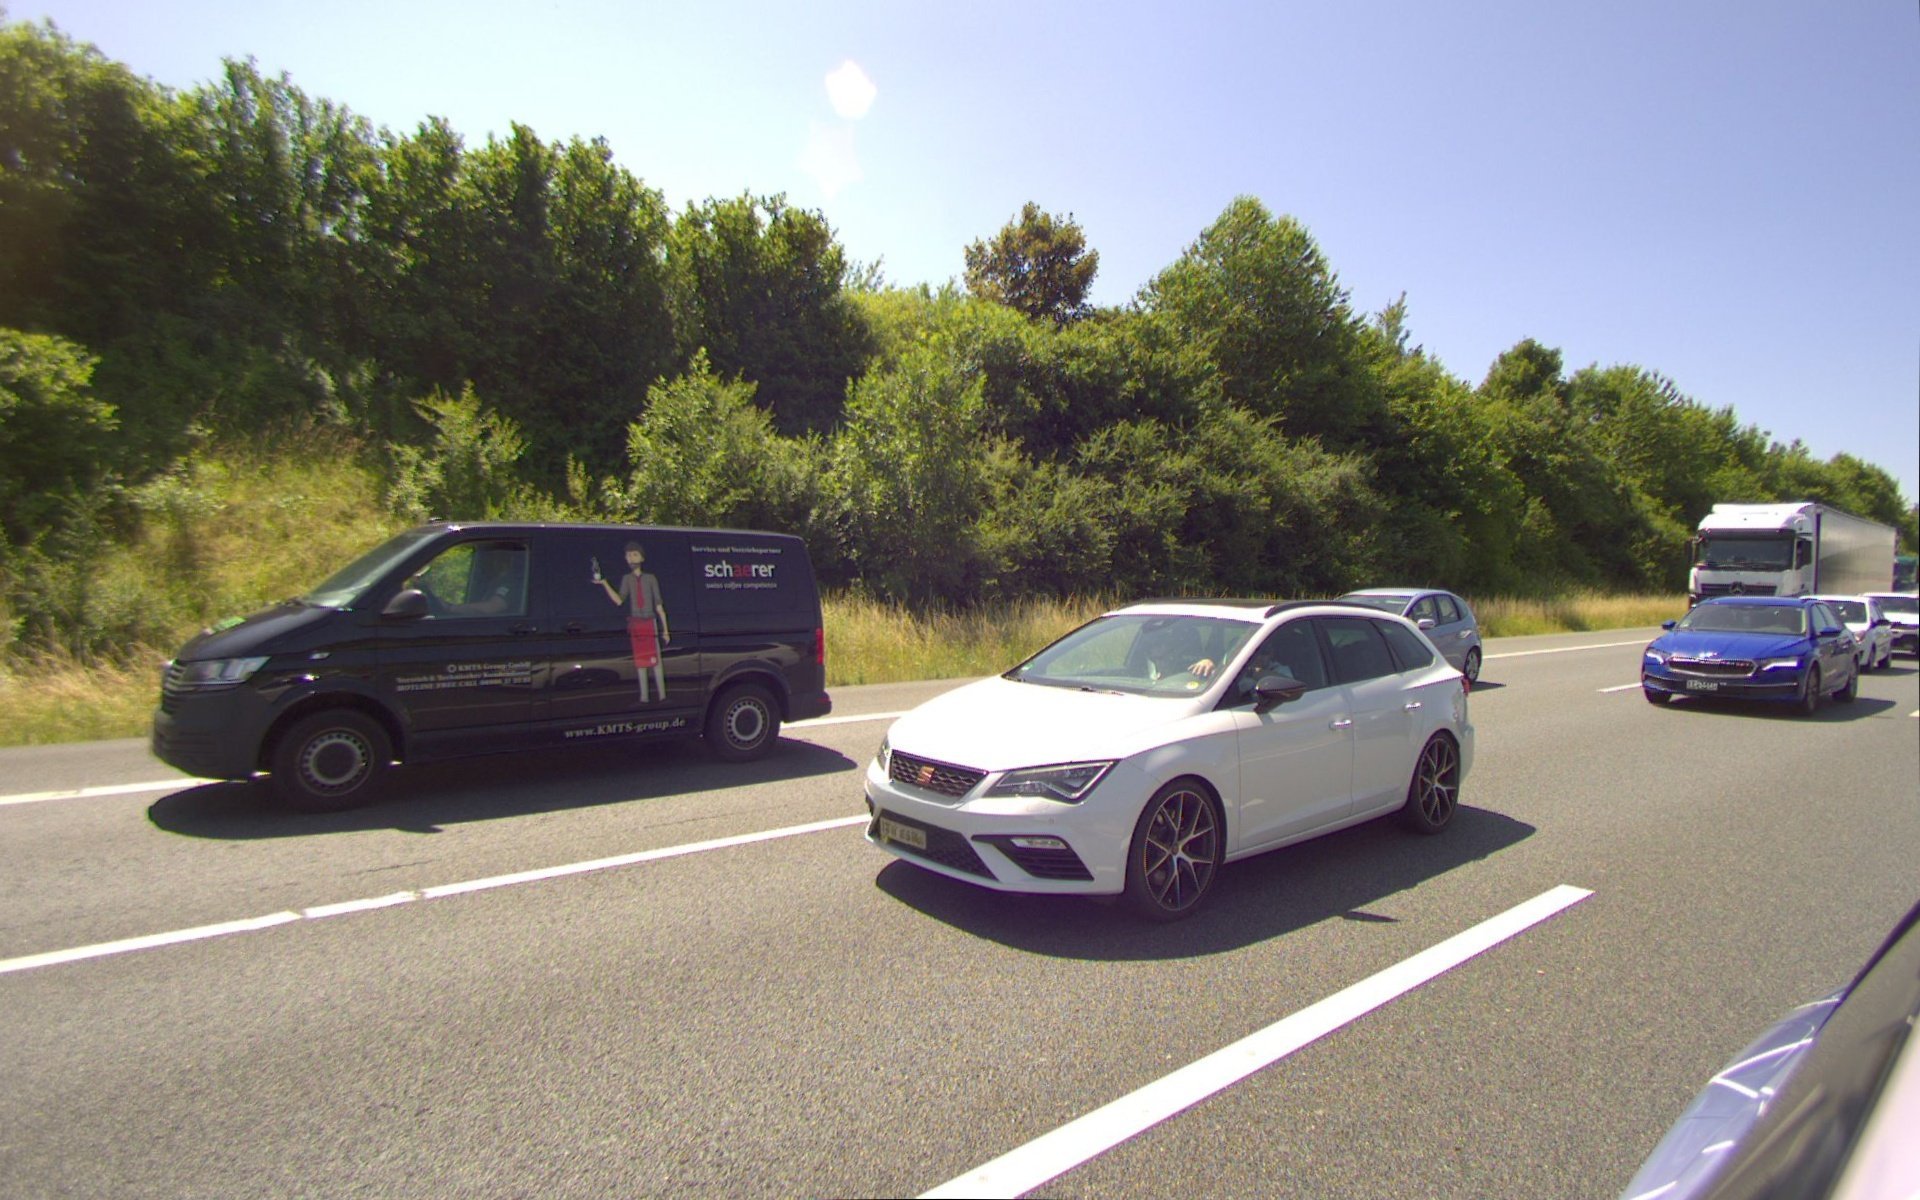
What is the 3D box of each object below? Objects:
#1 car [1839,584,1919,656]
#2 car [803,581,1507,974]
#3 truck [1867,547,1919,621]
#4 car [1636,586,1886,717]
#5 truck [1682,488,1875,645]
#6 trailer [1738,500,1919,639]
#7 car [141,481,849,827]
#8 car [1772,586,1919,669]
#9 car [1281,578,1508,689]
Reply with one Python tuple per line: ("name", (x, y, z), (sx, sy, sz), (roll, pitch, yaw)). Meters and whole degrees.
("car", (22.819, 0.430, 24.458), (3.816, 1.577, 1.748), (-1, 3, -40))
("car", (1.365, 0.640, 5.893), (4.237, 1.461, 1.751), (-1, 2, -40))
("truck", (43.218, -0.710, 45.865), (5.573, 3.185, 2.299), (-1, 1, -39))
("car", (11.095, 0.571, 13.903), (4.491, 1.434, 1.780), (-1, 3, -40))
("truck", (25.087, -0.960, 30.840), (8.322, 4.208, 2.880), (-1, 1, -39))
("trailer", (30.773, -1.015, 35.467), (11.858, 4.208, 2.880), (-1, 1, -39))
("car", (-3.401, 0.244, 8.009), (4.770, 1.964, 1.918), (-1, 2, -40))
("car", (18.021, 0.483, 20.532), (3.741, 1.451, 1.609), (-1, 3, -39))
("car", (6.816, 0.429, 15.717), (3.852, 1.479, 1.666), (0, 2, -40))
